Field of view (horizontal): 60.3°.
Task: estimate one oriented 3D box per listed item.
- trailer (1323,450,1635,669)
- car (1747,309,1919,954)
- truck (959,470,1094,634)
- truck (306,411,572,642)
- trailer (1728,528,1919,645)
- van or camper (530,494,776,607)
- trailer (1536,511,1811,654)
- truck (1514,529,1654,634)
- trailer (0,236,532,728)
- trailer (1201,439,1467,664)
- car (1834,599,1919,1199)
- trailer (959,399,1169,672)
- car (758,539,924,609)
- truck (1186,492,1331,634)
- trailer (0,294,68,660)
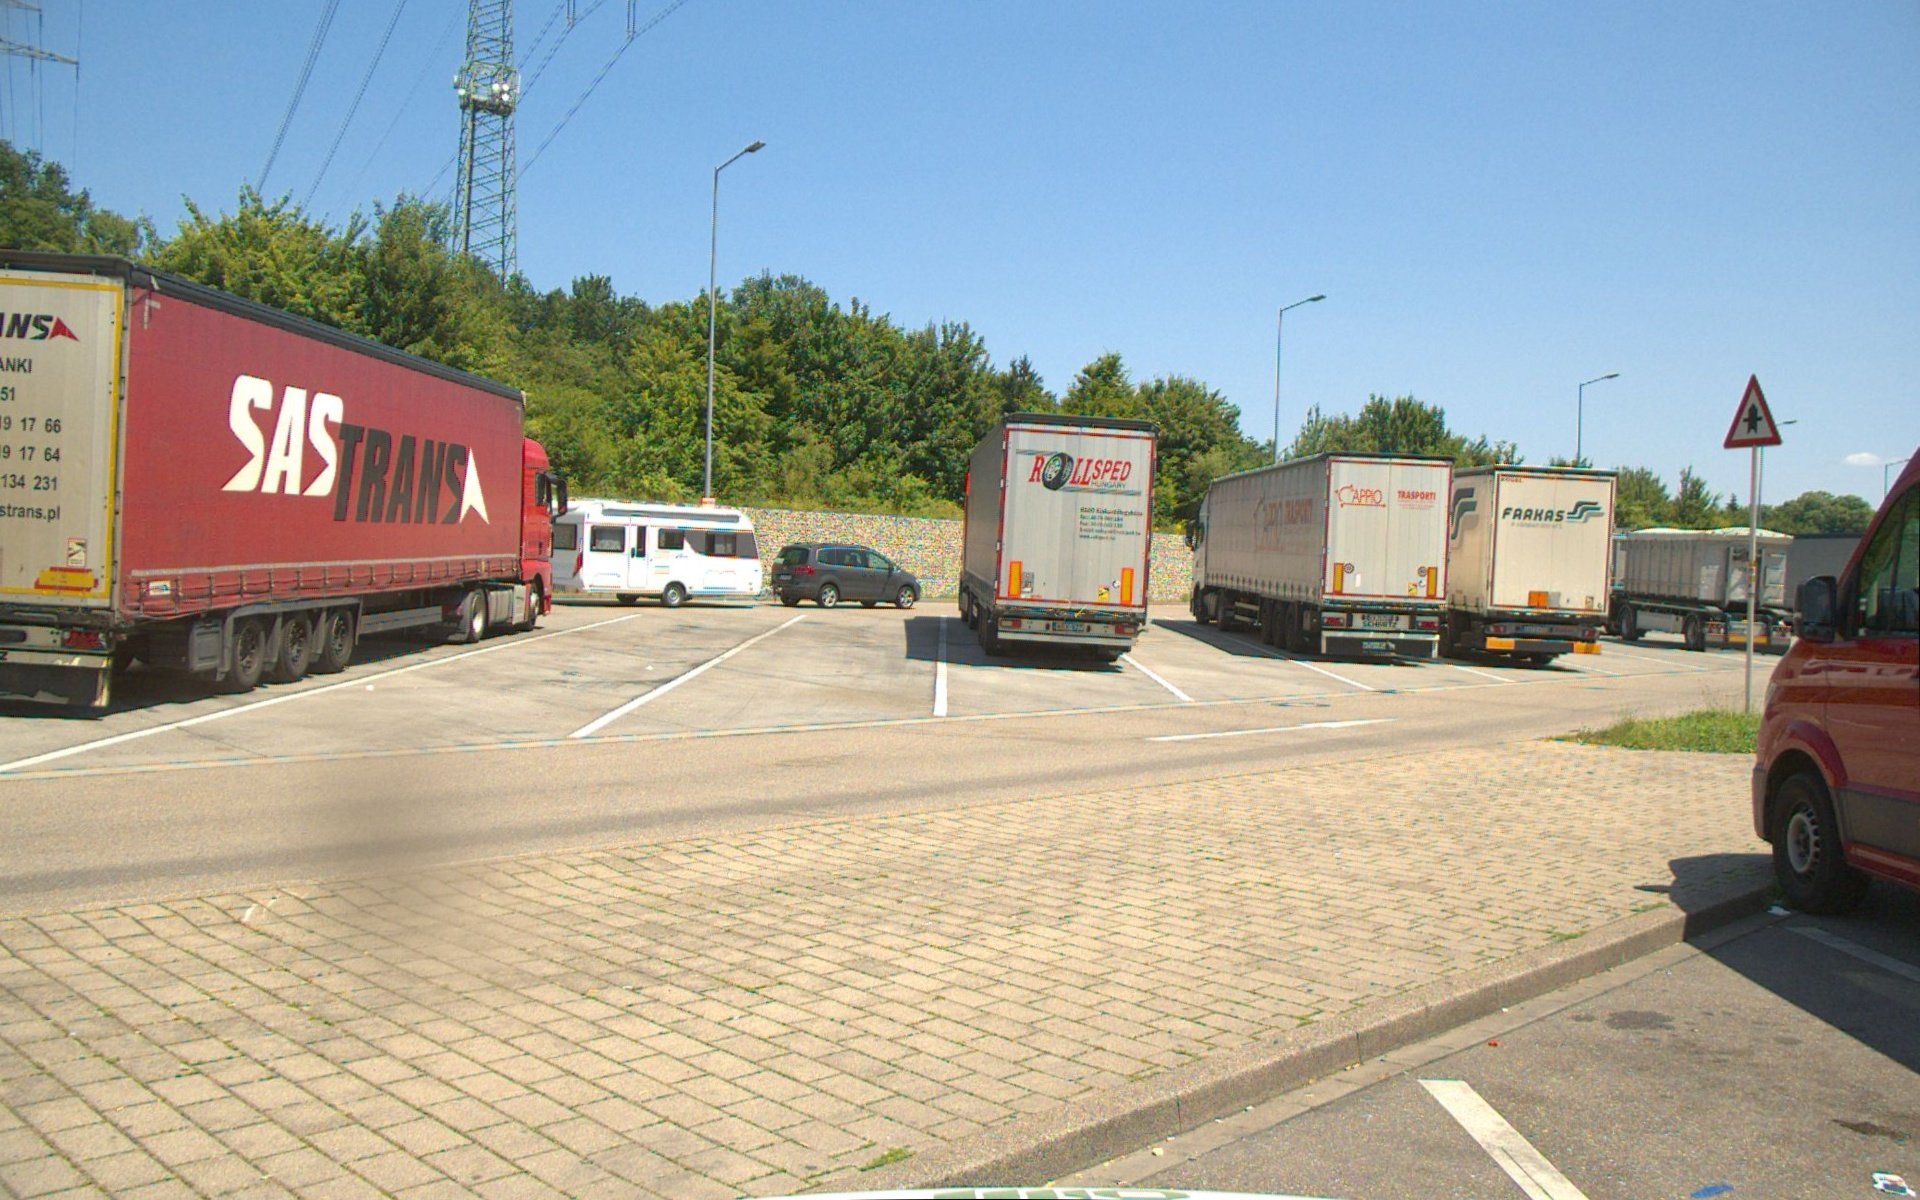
[{"bbox_3d":[11.775,-1.021,39.598,2.781,4.204,13.722,3,2,-1],"label":"trailer"},{"bbox_3d":[5.003,0.171,5.528,2.023,2.742,6.397,1,1,4],"label":"car"},{"bbox_3d":[1.486,-1.160,39.817,2.794,3.544,5.483,3,2,-1],"label":"truck"},{"bbox_3d":[-8.791,-1.230,28.594,2.794,3.487,5.483,3,2,-1],"label":"truck"},{"bbox_3d":[34.951,-0.633,65.370,2.780,4.119,13.726,3,2,1],"label":"trailer"},{"bbox_3d":[-7.674,-1.199,41.803,5.804,2.609,2.235,1,2,-45],"label":"van or camper"},{"bbox_3d":[21.935,-0.683,52.170,2.780,3.781,13.726,3,2,1],"label":"trailer"},{"bbox_3d":[22.018,-0.716,58.674,2.794,3.423,5.484,3,2,0],"label":"truck"},{"bbox_3d":[-8.680,-1.316,21.158,2.848,4.203,13.723,3,2,-1],"label":"trailer"},{"bbox_3d":[8.215,-1.146,38.795,2.781,4.204,13.722,3,2,-1],"label":"trailer"},{"bbox_3d":[2.590,0.804,1.125,1.703,1.508,3.813,1,1,-6],"label":"car"},{"bbox_3d":[1.653,-1.244,33.208,2.848,4.204,13.721,3,2,-1],"label":"trailer"},{"bbox_3d":[-3.293,-0.703,46.249,4.474,1.737,1.760,1,3,-43],"label":"car"},{"bbox_3d":[8.102,-1.050,45.604,2.794,3.544,5.483,3,2,-1],"label":"truck"},{"bbox_3d":[-12.526,-1.330,15.676,2.673,4.282,10.170,2,2,-1],"label":"trailer"}]
